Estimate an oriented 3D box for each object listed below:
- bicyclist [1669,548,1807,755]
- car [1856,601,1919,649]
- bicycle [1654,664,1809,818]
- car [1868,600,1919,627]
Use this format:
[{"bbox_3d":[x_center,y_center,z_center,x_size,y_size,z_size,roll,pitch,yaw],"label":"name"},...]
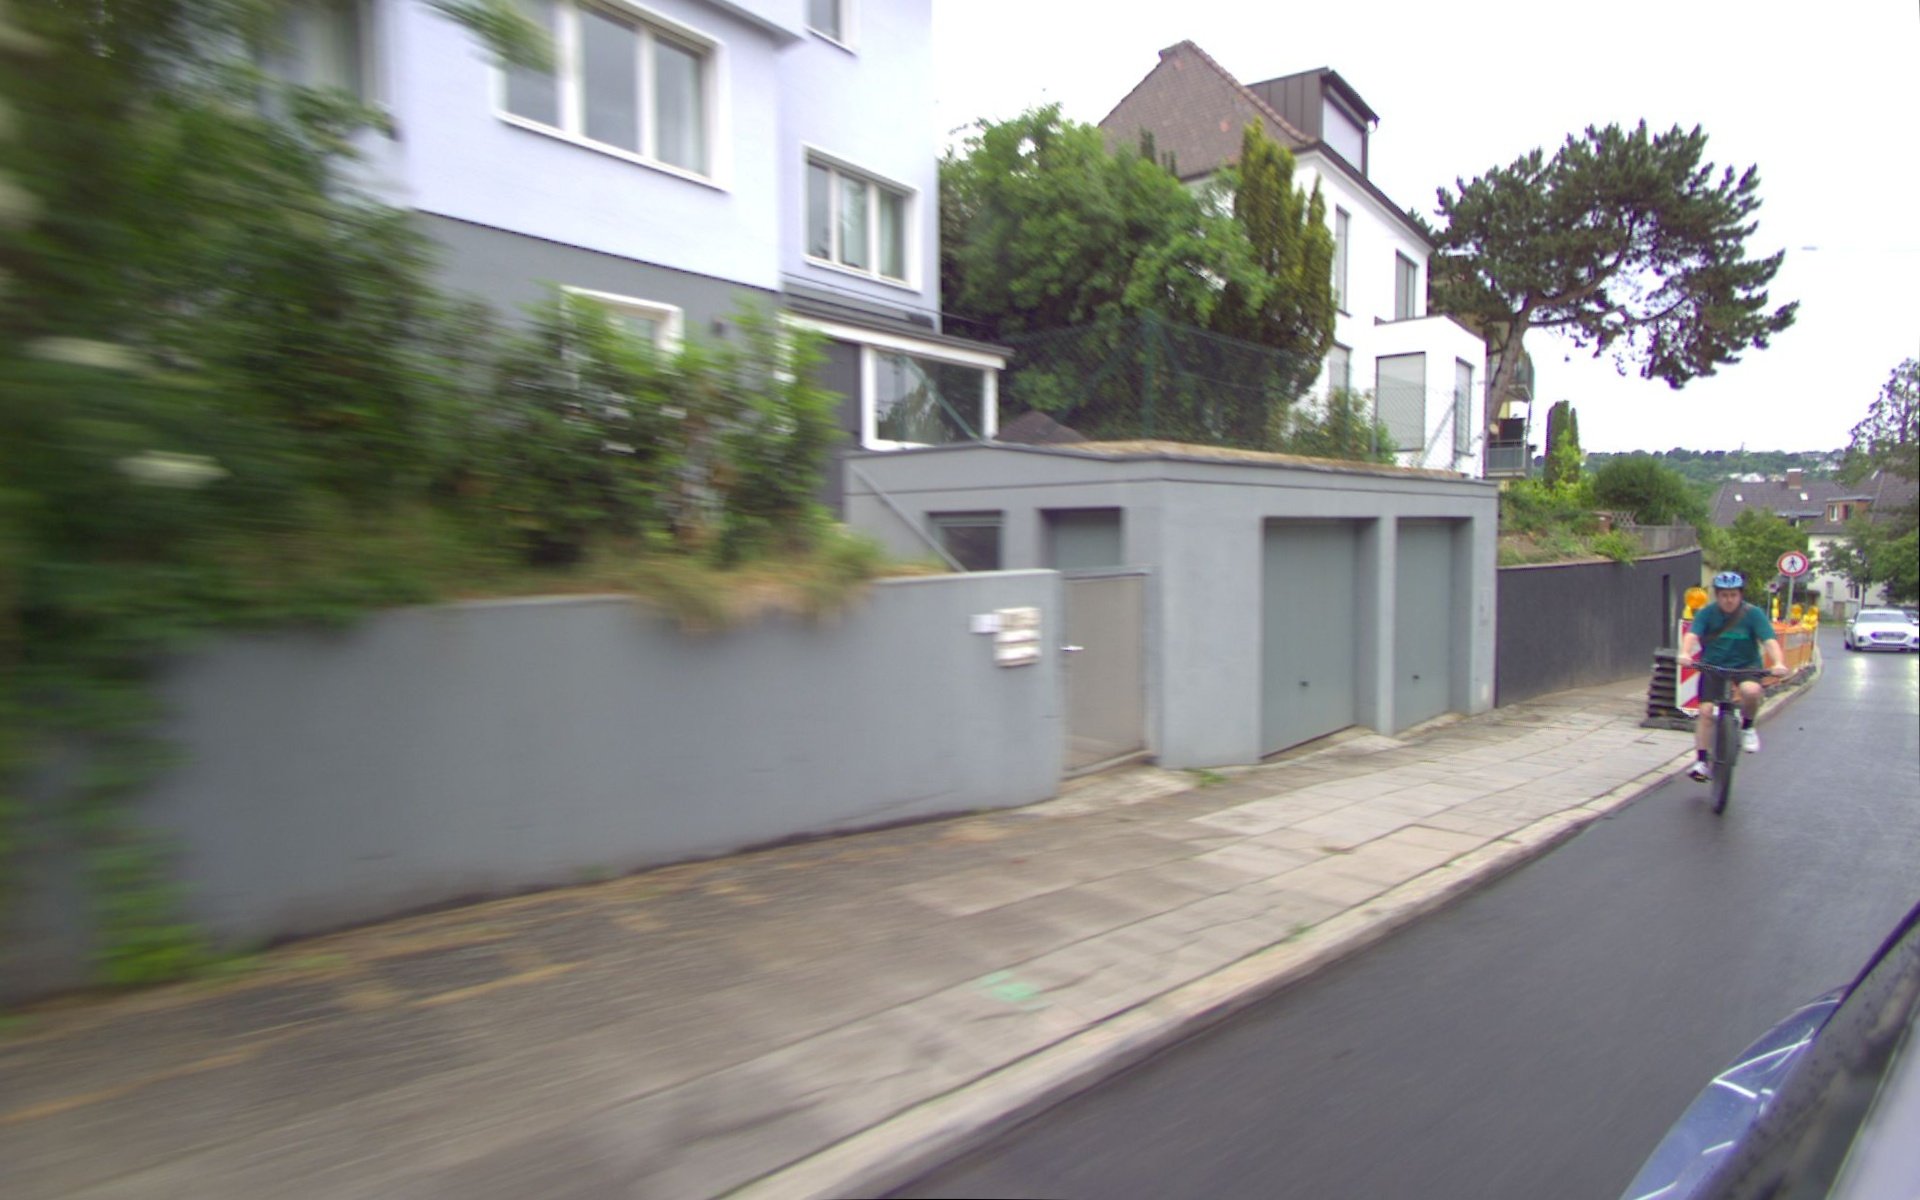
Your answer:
[{"bbox_3d":[6.044,0.363,7.854,0.872,1.491,0.725,1,0,-45],"label":"bicyclist"},{"bbox_3d":[36.393,0.933,39.426,1.991,1.730,4.510,1,1,39],"label":"car"},{"bbox_3d":[5.948,1.014,7.767,1.643,0.977,0.730,2,-1,-45],"label":"bicycle"},{"bbox_3d":[55.494,0.769,59.365,1.651,1.484,3.878,0,1,14],"label":"car"}]
